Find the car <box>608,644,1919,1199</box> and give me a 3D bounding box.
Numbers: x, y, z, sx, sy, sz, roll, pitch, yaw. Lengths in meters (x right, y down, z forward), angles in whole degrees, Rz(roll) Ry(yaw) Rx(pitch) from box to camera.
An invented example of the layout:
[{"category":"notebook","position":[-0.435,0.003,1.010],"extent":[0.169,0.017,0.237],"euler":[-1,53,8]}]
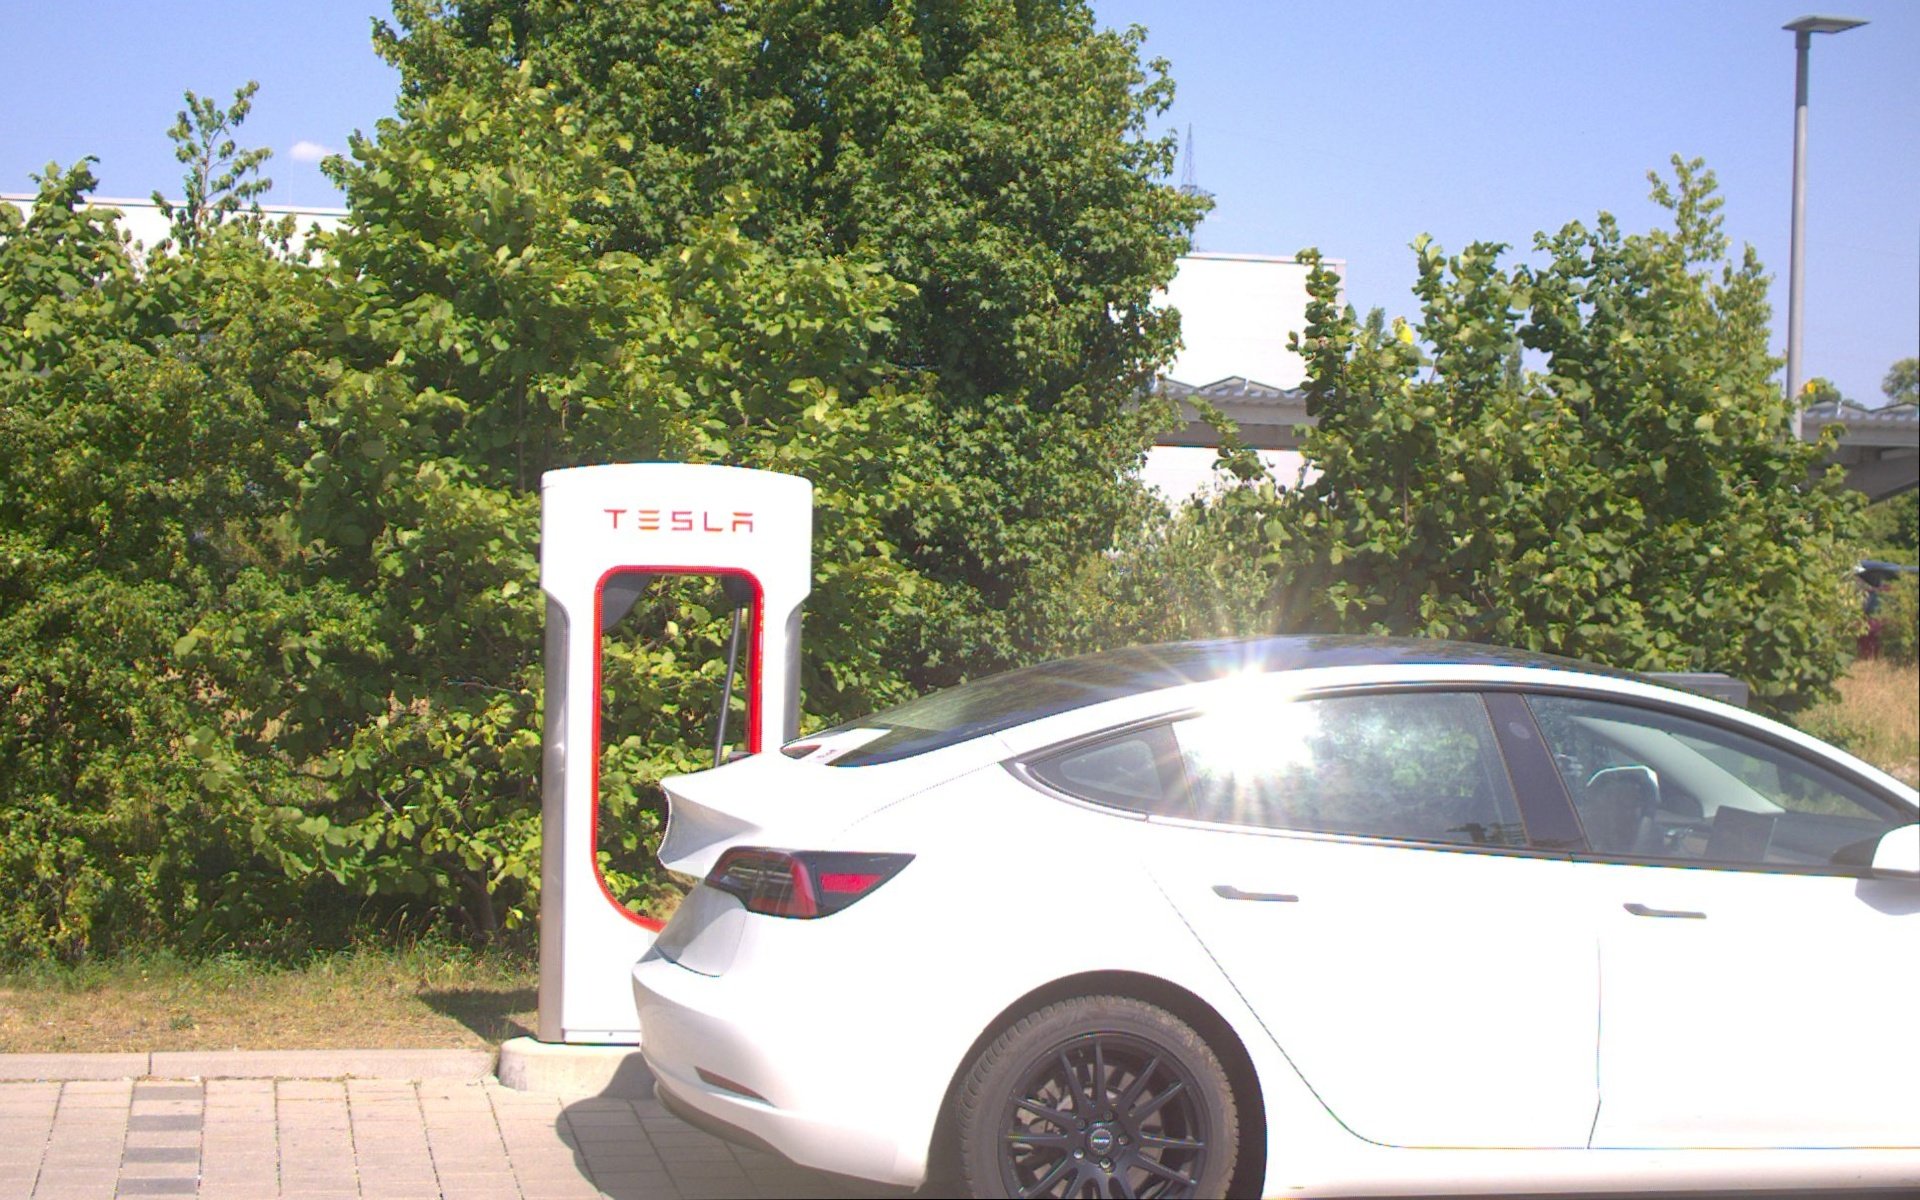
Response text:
[{"category":"car","position":[1.406,0.856,8.827],"extent":[4.433,1.373,1.823],"euler":[1,1,-11]}]
